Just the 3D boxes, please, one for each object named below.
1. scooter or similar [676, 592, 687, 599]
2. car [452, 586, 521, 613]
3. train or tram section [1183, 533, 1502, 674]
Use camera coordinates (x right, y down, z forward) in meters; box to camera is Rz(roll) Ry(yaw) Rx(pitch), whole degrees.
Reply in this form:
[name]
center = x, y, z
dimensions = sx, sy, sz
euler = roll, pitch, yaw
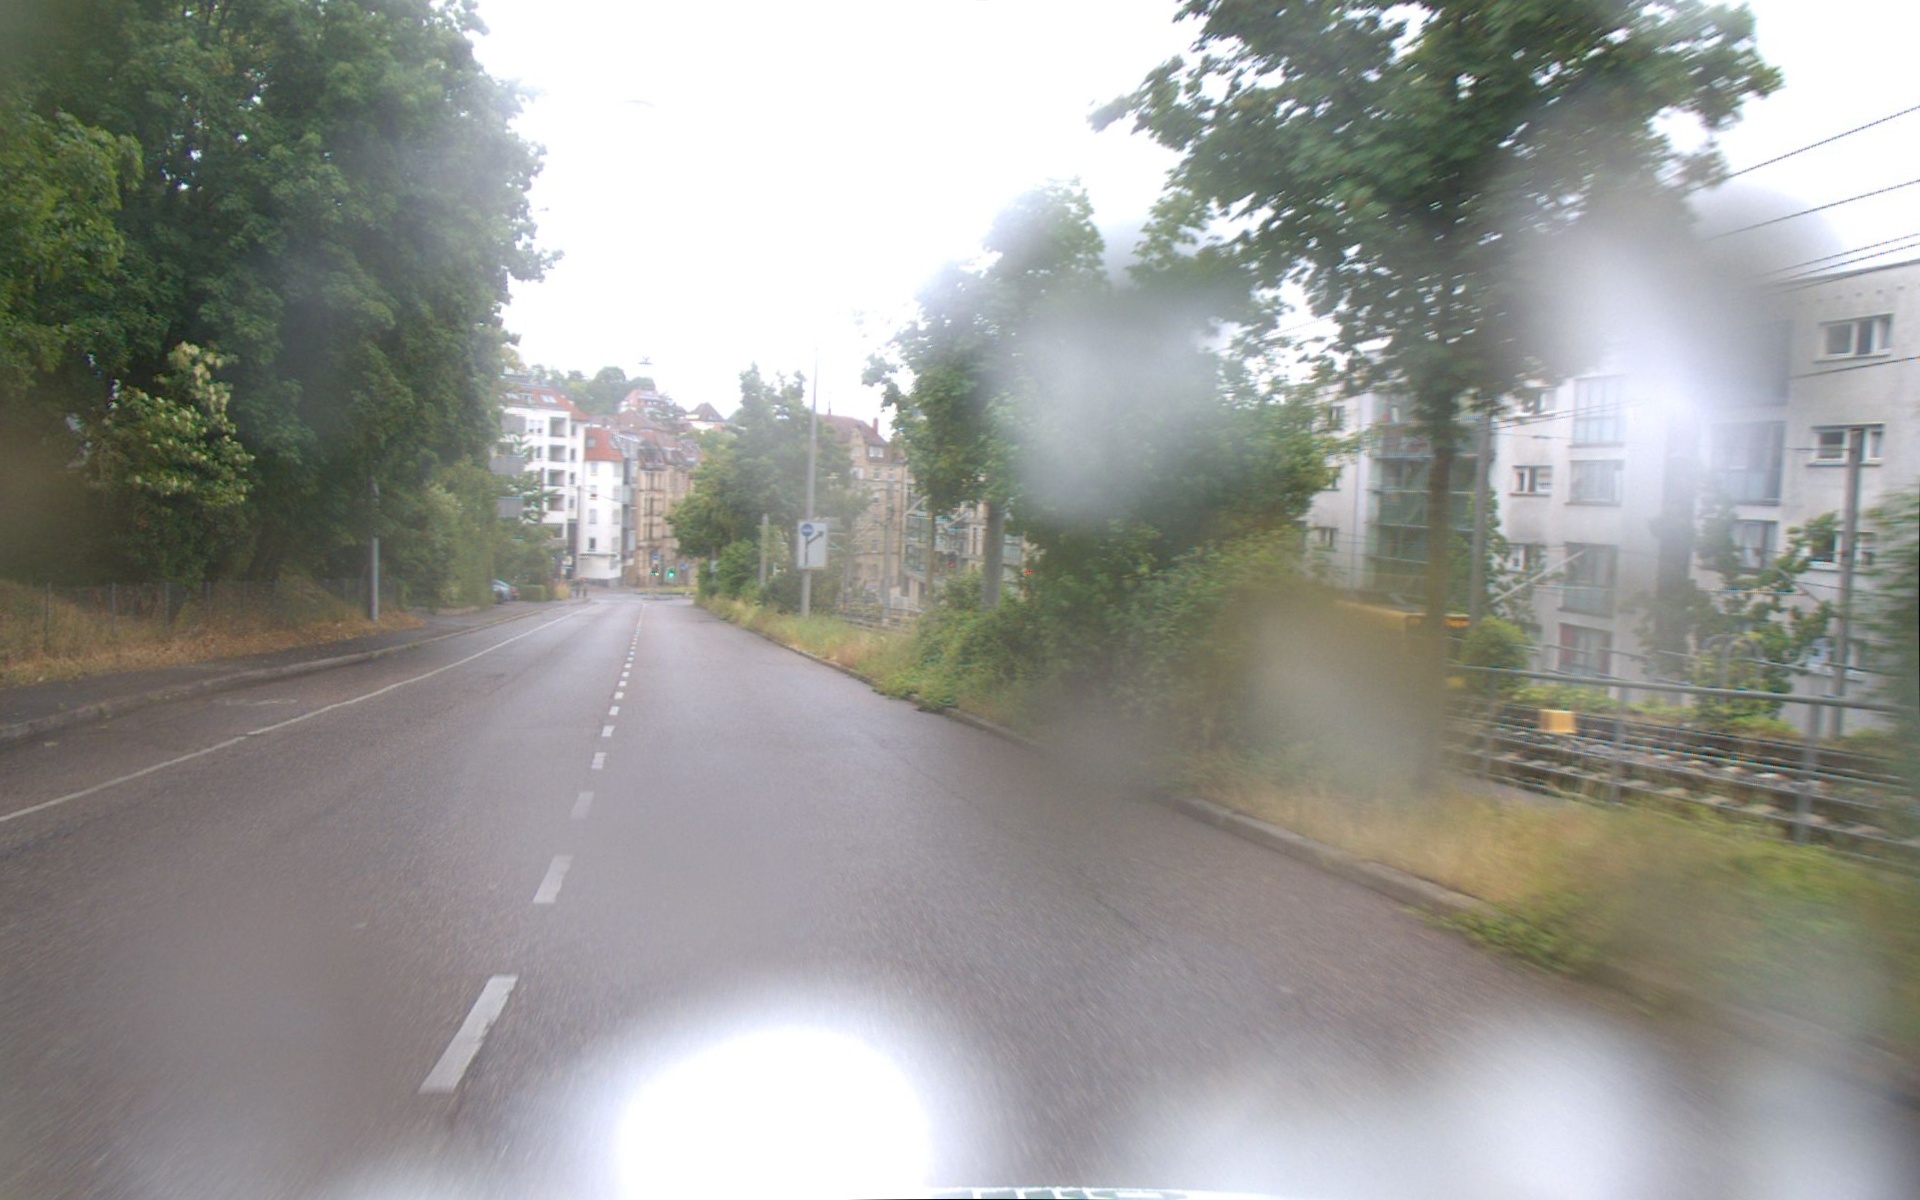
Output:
[scooter or similar]
center = -28.687, -0.447, 170.377
dimensions = 0.474, 0.774, 1.330
euler = 1, 0, 17
[car]
center = -27.248, -0.005, 95.192
dimensions = 3.564, 1.431, 1.780
euler = 2, 0, -10
[train or tram section]
center = 12.491, -0.002, 57.790
dimensions = 3.271, 4.016, 19.230
euler = 2, 0, -11
